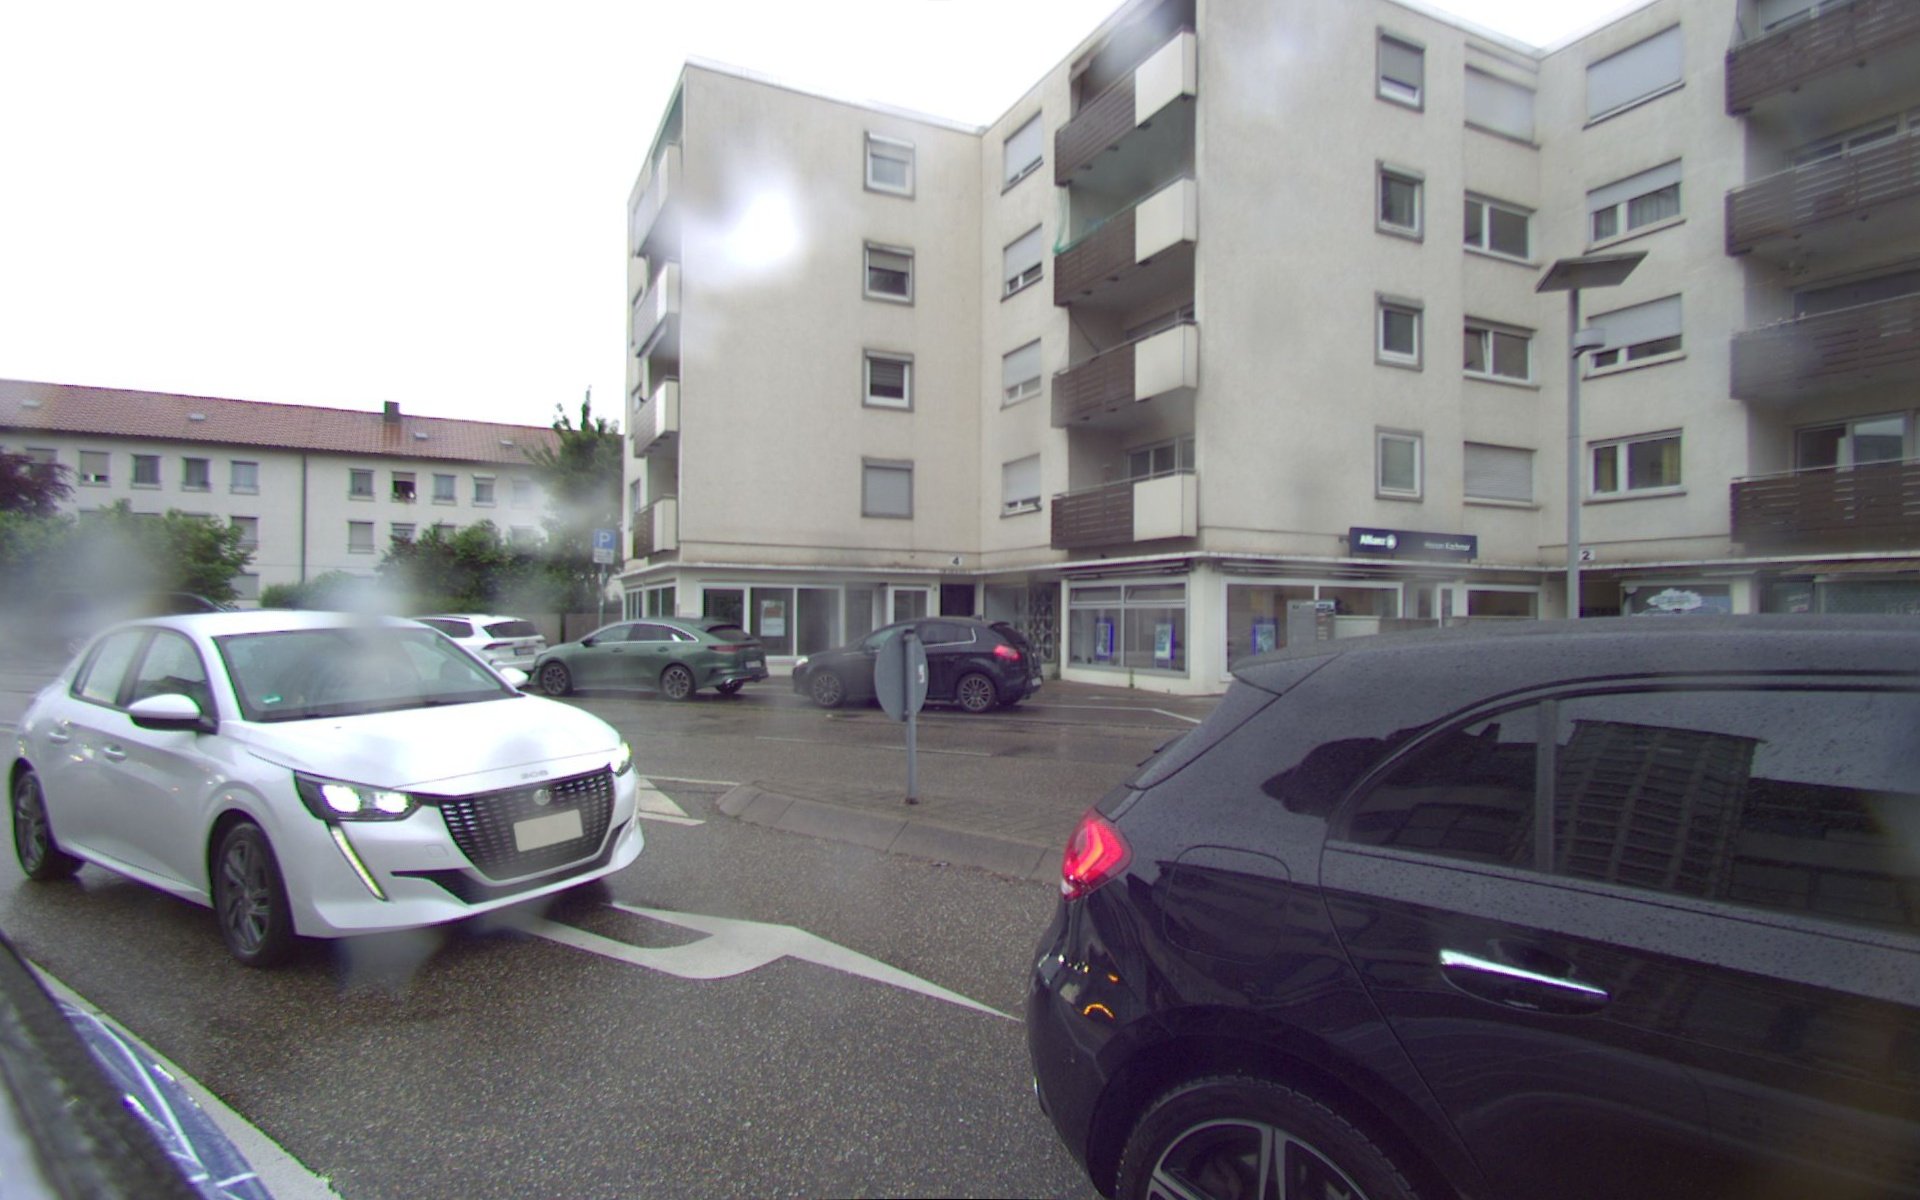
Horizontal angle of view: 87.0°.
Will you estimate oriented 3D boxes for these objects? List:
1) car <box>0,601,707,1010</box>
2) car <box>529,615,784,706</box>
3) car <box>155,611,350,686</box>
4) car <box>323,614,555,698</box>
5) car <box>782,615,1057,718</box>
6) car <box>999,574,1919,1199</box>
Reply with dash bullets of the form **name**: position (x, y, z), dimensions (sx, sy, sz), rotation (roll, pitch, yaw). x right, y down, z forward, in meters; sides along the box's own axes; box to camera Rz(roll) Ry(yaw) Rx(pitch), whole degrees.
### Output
- **car**: position (-3.364, 0.750, 5.323), dimensions (3.882, 1.420, 1.726), rotation (-1, 0, 31)
- **car**: position (-5.537, 1.038, 18.525), dimensions (4.241, 1.445, 1.826), rotation (0, 0, 19)
- **car**: position (-15.639, 1.027, 22.370), dimensions (3.852, 1.517, 1.623), rotation (0, -1, 20)
- **car**: position (-10.457, 1.069, 20.325), dimensions (4.313, 1.511, 1.627), rotation (0, -1, 20)
- **car**: position (-0.643, 1.016, 16.636), dimensions (4.156, 1.471, 1.825), rotation (0, 0, 20)
- **car**: position (2.182, 0.688, 1.312), dimensions (4.090, 1.492, 1.646), rotation (-2, -1, 40)
